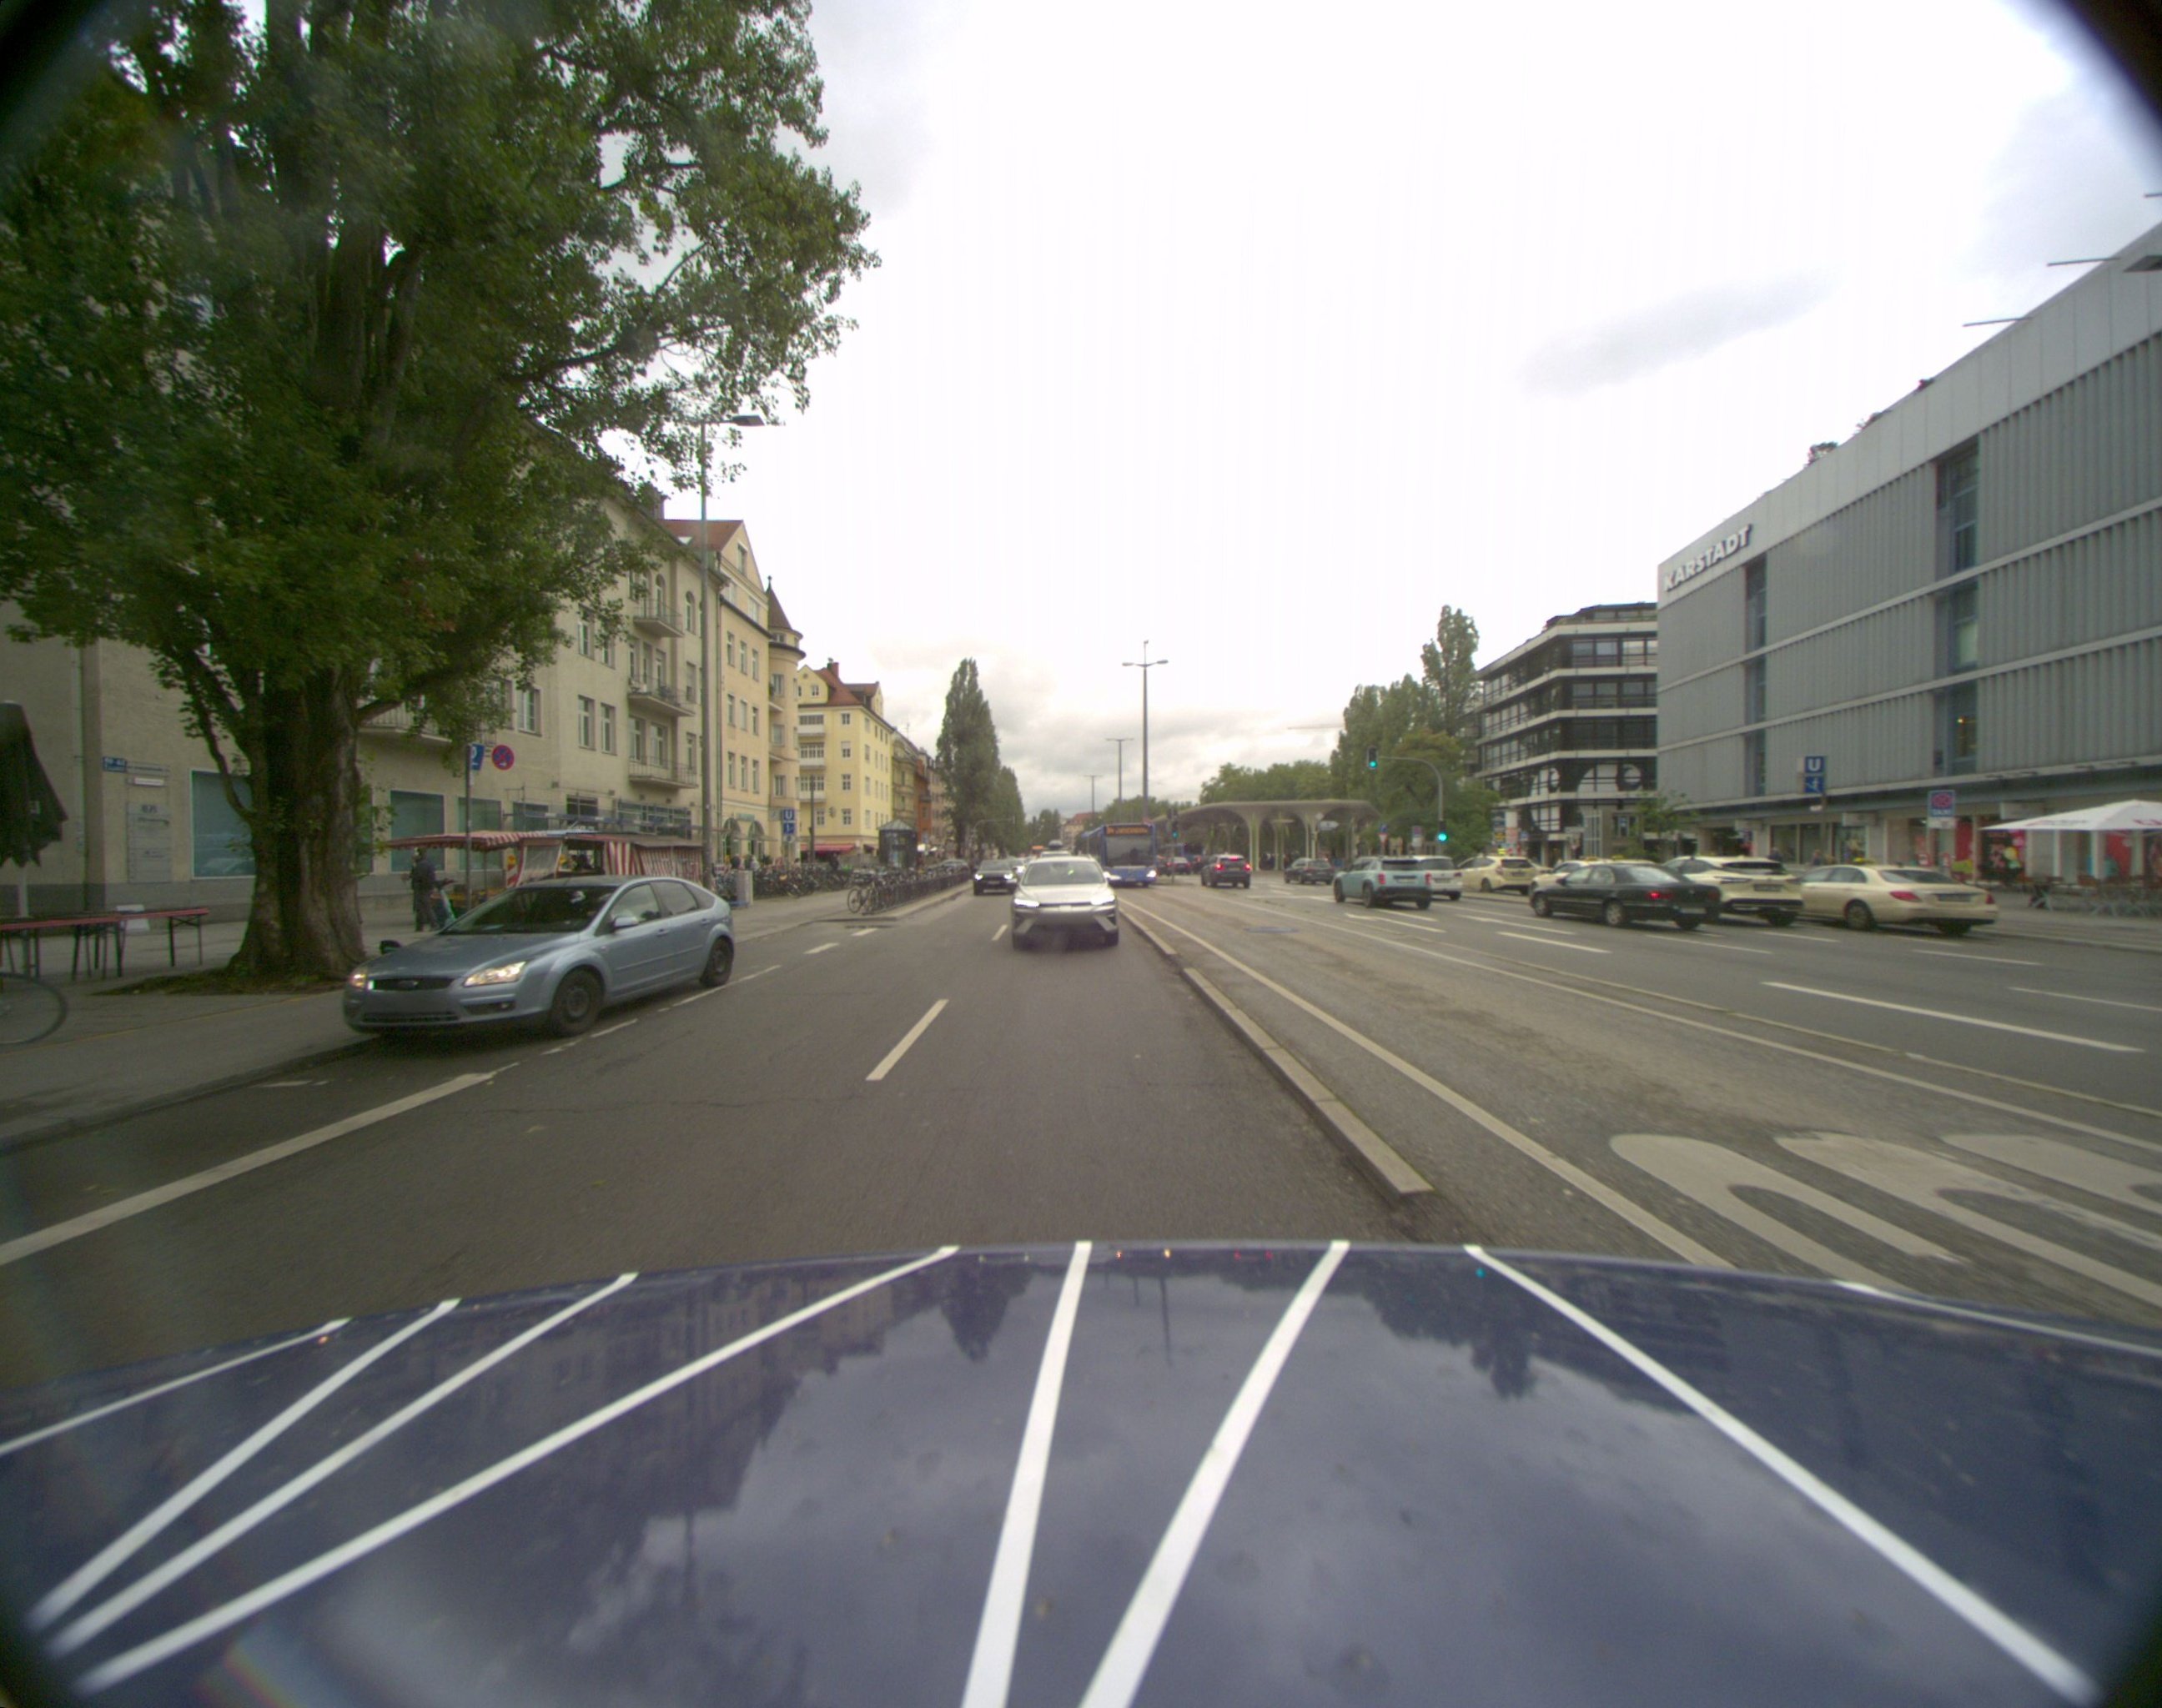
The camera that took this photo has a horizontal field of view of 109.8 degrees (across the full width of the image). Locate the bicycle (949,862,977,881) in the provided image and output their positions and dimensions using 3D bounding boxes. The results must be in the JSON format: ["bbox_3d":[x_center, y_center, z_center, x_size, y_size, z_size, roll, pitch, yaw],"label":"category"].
[{"bbox_3d":[-7.239,1.075,46.537,1.780,1.131,0.479,-1,1,32],"label":"bicycle"}]

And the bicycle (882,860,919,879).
[{"bbox_3d":[-12.063,1.016,50.798,2.318,1.220,0.628,0,1,0],"label":"bicycle"}]

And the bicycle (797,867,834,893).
[{"bbox_3d":[-11.480,1.128,32.880,1.453,1.071,0.410,0,1,-11],"label":"bicycle"}]

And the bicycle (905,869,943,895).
[{"bbox_3d":[-6.607,1.182,31.950,1.797,1.004,0.387,-5,-1,36],"label":"bicycle"}]

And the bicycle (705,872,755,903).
[{"bbox_3d":[-12.595,1.201,27.262,1.632,1.097,0.410,1,1,3],"label":"bicycle"}]

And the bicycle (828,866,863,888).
[{"bbox_3d":[-11.669,1.160,37.713,1.605,1.071,0.410,1,1,-4],"label":"bicycle"}]

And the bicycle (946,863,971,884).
[{"bbox_3d":[-6.897,1.115,42.855,1.521,1.131,0.349,-1,1,34],"label":"bicycle"}]

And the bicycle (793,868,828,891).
[{"bbox_3d":[-13.054,1.218,36.680,1.530,1.071,0.410,1,1,-4],"label":"bicycle"}]

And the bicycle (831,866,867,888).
[{"bbox_3d":[-11.640,1.153,38.167,1.655,1.071,0.410,1,1,-4],"label":"bicycle"}]

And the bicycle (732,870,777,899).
[{"bbox_3d":[-12.738,1.173,29.671,1.632,1.097,0.410,1,1,7],"label":"bicycle"}]

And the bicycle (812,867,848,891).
[{"bbox_3d":[-11.630,1.163,35.233,1.529,1.071,0.410,1,1,-4],"label":"bicycle"}]

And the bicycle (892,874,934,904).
[{"bbox_3d":[-6.276,1.308,28.337,1.797,1.004,0.387,-5,-1,36],"label":"bicycle"}]

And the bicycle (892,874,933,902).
[{"bbox_3d":[-6.445,1.304,29.057,1.797,1.004,0.387,-5,-1,36],"label":"bicycle"}]

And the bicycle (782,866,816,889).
[{"bbox_3d":[-13.392,1.133,36.121,1.453,1.071,0.410,0,1,-11],"label":"bicycle"}]

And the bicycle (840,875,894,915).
[{"bbox_3d":[-6.036,1.162,21.412,1.572,1.048,0.548,-5,-1,36],"label":"bicycle"}]

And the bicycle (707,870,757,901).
[{"bbox_3d":[-12.777,1.167,27.813,1.633,1.097,0.410,1,1,0],"label":"bicycle"}]

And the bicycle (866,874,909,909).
[{"bbox_3d":[-6.367,1.245,24.940,1.797,1.048,0.368,-5,-1,42],"label":"bicycle"}]

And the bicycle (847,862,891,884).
[{"bbox_3d":[-12.239,1.080,43.880,2.368,1.220,0.628,0,1,0],"label":"bicycle"}]

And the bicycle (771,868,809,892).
[{"bbox_3d":[-12.956,1.150,33.812,1.536,1.071,0.410,1,1,-10],"label":"bicycle"}]

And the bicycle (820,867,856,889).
[{"bbox_3d":[-11.868,1.175,37.072,1.625,1.071,0.410,1,1,-4],"label":"bicycle"}]

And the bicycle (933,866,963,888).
[{"bbox_3d":[-6.794,1.168,38.791,1.790,1.131,0.490,-1,1,42],"label":"bicycle"}]

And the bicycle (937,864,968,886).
[{"bbox_3d":[-6.929,1.141,41.029,1.791,1.131,0.490,-1,1,36],"label":"bicycle"}]

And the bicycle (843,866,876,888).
[{"bbox_3d":[-11.431,1.162,39.269,0.409,1.071,1.766,1,1,38],"label":"bicycle"}]

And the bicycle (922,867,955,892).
[{"bbox_3d":[-6.675,1.209,35.544,1.848,1.053,0.398,-5,-1,43],"label":"bicycle"}]

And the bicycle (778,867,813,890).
[{"bbox_3d":[-13.377,1.139,35.627,1.453,1.071,0.410,0,1,-11],"label":"bicycle"}]

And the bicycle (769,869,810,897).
[{"bbox_3d":[-11.682,1.167,30.451,1.482,1.071,0.410,1,1,3],"label":"bicycle"}]

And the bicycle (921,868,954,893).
[{"bbox_3d":[-6.602,1.230,34.846,1.848,1.053,0.398,-5,-1,43],"label":"bicycle"}]

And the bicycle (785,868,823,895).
[{"bbox_3d":[-11.528,1.146,31.652,1.453,1.071,0.410,0,1,-11],"label":"bicycle"}]

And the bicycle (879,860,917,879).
[{"bbox_3d":[-12.056,1.026,50.080,2.318,1.220,0.628,0,1,0],"label":"bicycle"}]

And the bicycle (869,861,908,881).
[{"bbox_3d":[-12.181,1.057,48.099,2.318,1.220,0.628,0,1,0],"label":"bicycle"}]

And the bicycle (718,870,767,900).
[{"bbox_3d":[-12.691,1.154,28.501,1.633,1.097,0.410,1,1,0],"label":"bicycle"}]

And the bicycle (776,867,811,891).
[{"bbox_3d":[-13.227,1.142,35.018,1.453,1.071,0.410,0,1,-11],"label":"bicycle"}]

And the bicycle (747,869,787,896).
[{"bbox_3d":[-12.954,1.183,31.388,1.453,1.071,0.410,0,1,-11],"label":"bicycle"}]

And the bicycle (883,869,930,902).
[{"bbox_3d":[-6.396,1.147,27.798,1.797,1.098,0.548,-5,-1,36],"label":"bicycle"}]

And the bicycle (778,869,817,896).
[{"bbox_3d":[-11.546,1.156,30.931,1.451,1.071,0.410,1,1,6],"label":"bicycle"}]

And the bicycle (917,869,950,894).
[{"bbox_3d":[-6.629,1.240,34.120,1.848,1.053,0.398,-5,-1,43],"label":"bicycle"}]

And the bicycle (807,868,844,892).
[{"bbox_3d":[-11.626,1.171,34.644,1.539,1.071,0.410,1,1,-4],"label":"bicycle"}]

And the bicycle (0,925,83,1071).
[{"bbox_3d":[-9.246,1.209,5.850,0.478,1.153,1.827,-1,0,15],"label":"bicycle"}]

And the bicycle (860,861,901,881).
[{"bbox_3d":[-12.173,1.046,46.213,2.343,1.220,0.628,0,1,0],"label":"bicycle"}]

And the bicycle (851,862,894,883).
[{"bbox_3d":[-12.215,1.070,44.560,2.343,1.220,0.628,0,1,0],"label":"bicycle"}]

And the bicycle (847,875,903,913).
[{"bbox_3d":[-6.229,1.202,22.941,1.797,1.048,0.548,-5,-1,36],"label":"bicycle"}]

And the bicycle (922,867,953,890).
[{"bbox_3d":[-6.970,1.199,36.964,1.848,1.053,0.398,-5,-1,43],"label":"bicycle"}]

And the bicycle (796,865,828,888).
[{"bbox_3d":[-13.286,1.109,37.581,1.453,1.071,0.410,1,1,-7],"label":"bicycle"}]

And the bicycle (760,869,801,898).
[{"bbox_3d":[-11.394,1.122,28.839,1.471,1.071,0.410,1,1,13],"label":"bicycle"}]

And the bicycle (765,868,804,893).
[{"bbox_3d":[-12.956,1.158,33.213,1.536,1.071,0.410,1,1,-10],"label":"bicycle"}]

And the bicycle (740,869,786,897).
[{"bbox_3d":[-12.864,1.162,30.764,1.634,1.097,0.410,0,1,-12],"label":"bicycle"}]

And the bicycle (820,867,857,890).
[{"bbox_3d":[-11.603,1.177,36.346,1.638,1.071,0.410,1,1,2],"label":"bicycle"}]

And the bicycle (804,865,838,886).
[{"bbox_3d":[-13.423,1.091,39.228,1.650,1.071,0.410,1,1,0],"label":"bicycle"}]

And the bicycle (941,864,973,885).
[{"bbox_3d":[-6.904,1.124,42.216,1.791,1.131,0.591,-1,1,34],"label":"bicycle"}]

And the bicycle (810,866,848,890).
[{"bbox_3d":[-11.872,1.137,35.830,1.662,1.071,0.410,1,1,-4],"label":"bicycle"}]

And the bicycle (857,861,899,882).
[{"bbox_3d":[-12.096,1.056,45.280,2.318,1.220,0.628,0,1,0],"label":"bicycle"}]

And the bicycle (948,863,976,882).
[{"bbox_3d":[-7.063,1.091,44.966,1.674,1.131,0.479,-1,1,28],"label":"bicycle"}]

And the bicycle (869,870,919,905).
[{"bbox_3d":[-6.341,1.140,25.722,1.797,1.098,0.548,-5,-1,36],"label":"bicycle"}]

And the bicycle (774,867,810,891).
[{"bbox_3d":[-13.098,1.146,34.463,1.453,1.071,0.410,0,1,-11],"label":"bicycle"}]

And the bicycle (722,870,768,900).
[{"bbox_3d":[-12.866,1.185,29.083,1.632,1.097,0.410,1,1,7],"label":"bicycle"}]

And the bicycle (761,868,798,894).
[{"bbox_3d":[-12.927,1.166,32.603,1.453,1.071,0.410,0,1,-11],"label":"bicycle"}]

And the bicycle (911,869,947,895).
[{"bbox_3d":[-6.680,1.231,33.325,1.797,1.053,0.398,-5,-1,36],"label":"bicycle"}]

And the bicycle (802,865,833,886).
[{"bbox_3d":[-13.392,1.099,38.597,1.453,1.071,0.410,1,1,-7],"label":"bicycle"}]

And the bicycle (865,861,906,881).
[{"bbox_3d":[-12.178,1.031,47.342,2.330,1.220,0.628,0,1,0],"label":"bicycle"}]
